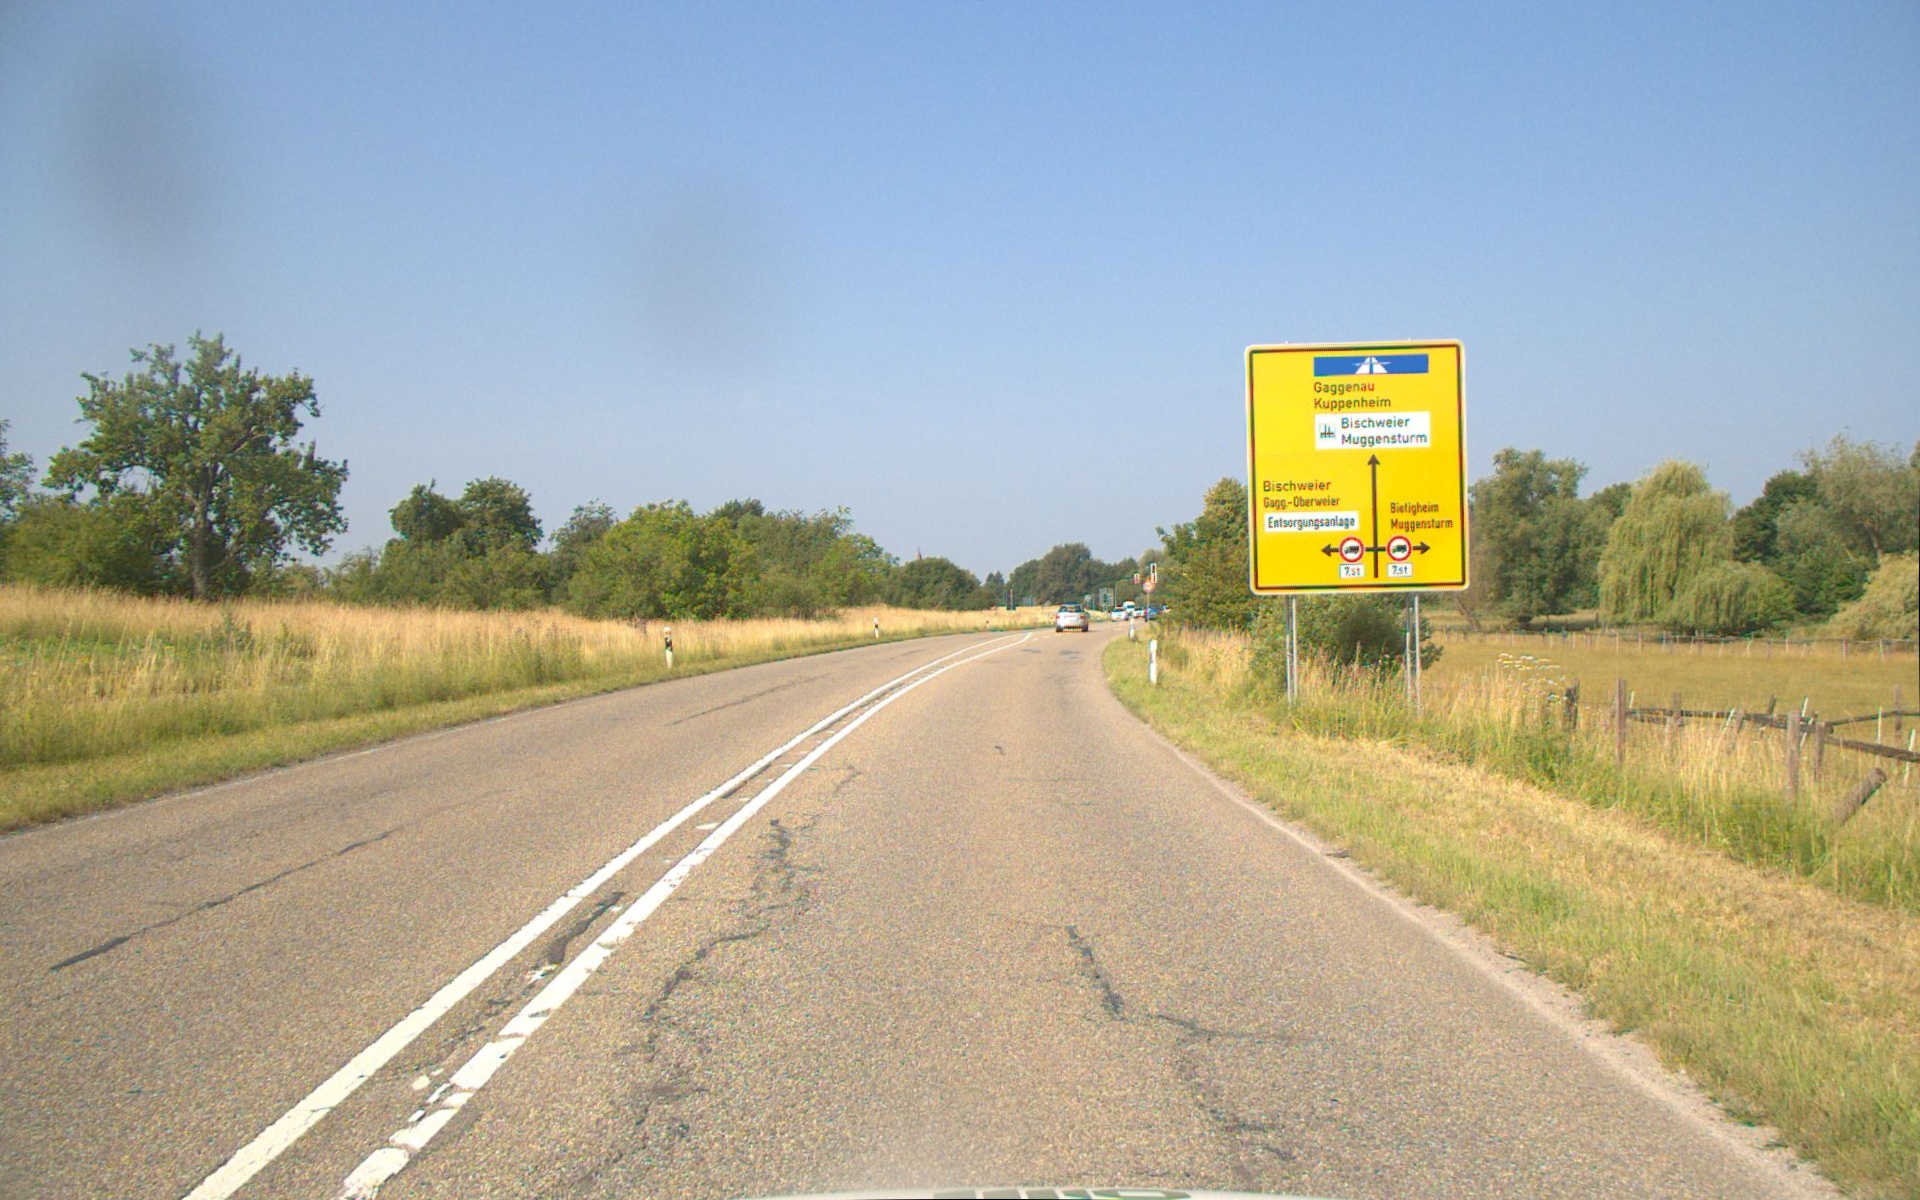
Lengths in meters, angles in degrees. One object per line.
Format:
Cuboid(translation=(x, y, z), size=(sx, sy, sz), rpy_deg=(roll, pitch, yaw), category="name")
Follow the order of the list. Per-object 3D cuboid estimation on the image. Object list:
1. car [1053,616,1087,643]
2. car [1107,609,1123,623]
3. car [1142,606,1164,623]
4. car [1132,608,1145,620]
Cuboid(translation=(6.603, 1.726, 99.076), size=(1.859, 1.538, 4.002), rpy_deg=(1, 0, 6), category="car")
Cuboid(translation=(18.426, 1.944, 196.521), size=(1.774, 1.613, 4.227), rpy_deg=(1, 0, 5), category="car")
Cuboid(translation=(18.377, 1.408, 157.442), size=(1.777, 1.547, 4.003), rpy_deg=(-1, 0, 10), category="car")
Cuboid(translation=(27.736, 2.176, 257.045), size=(1.796, 1.724, 3.862), rpy_deg=(0, -1, 10), category="car")
